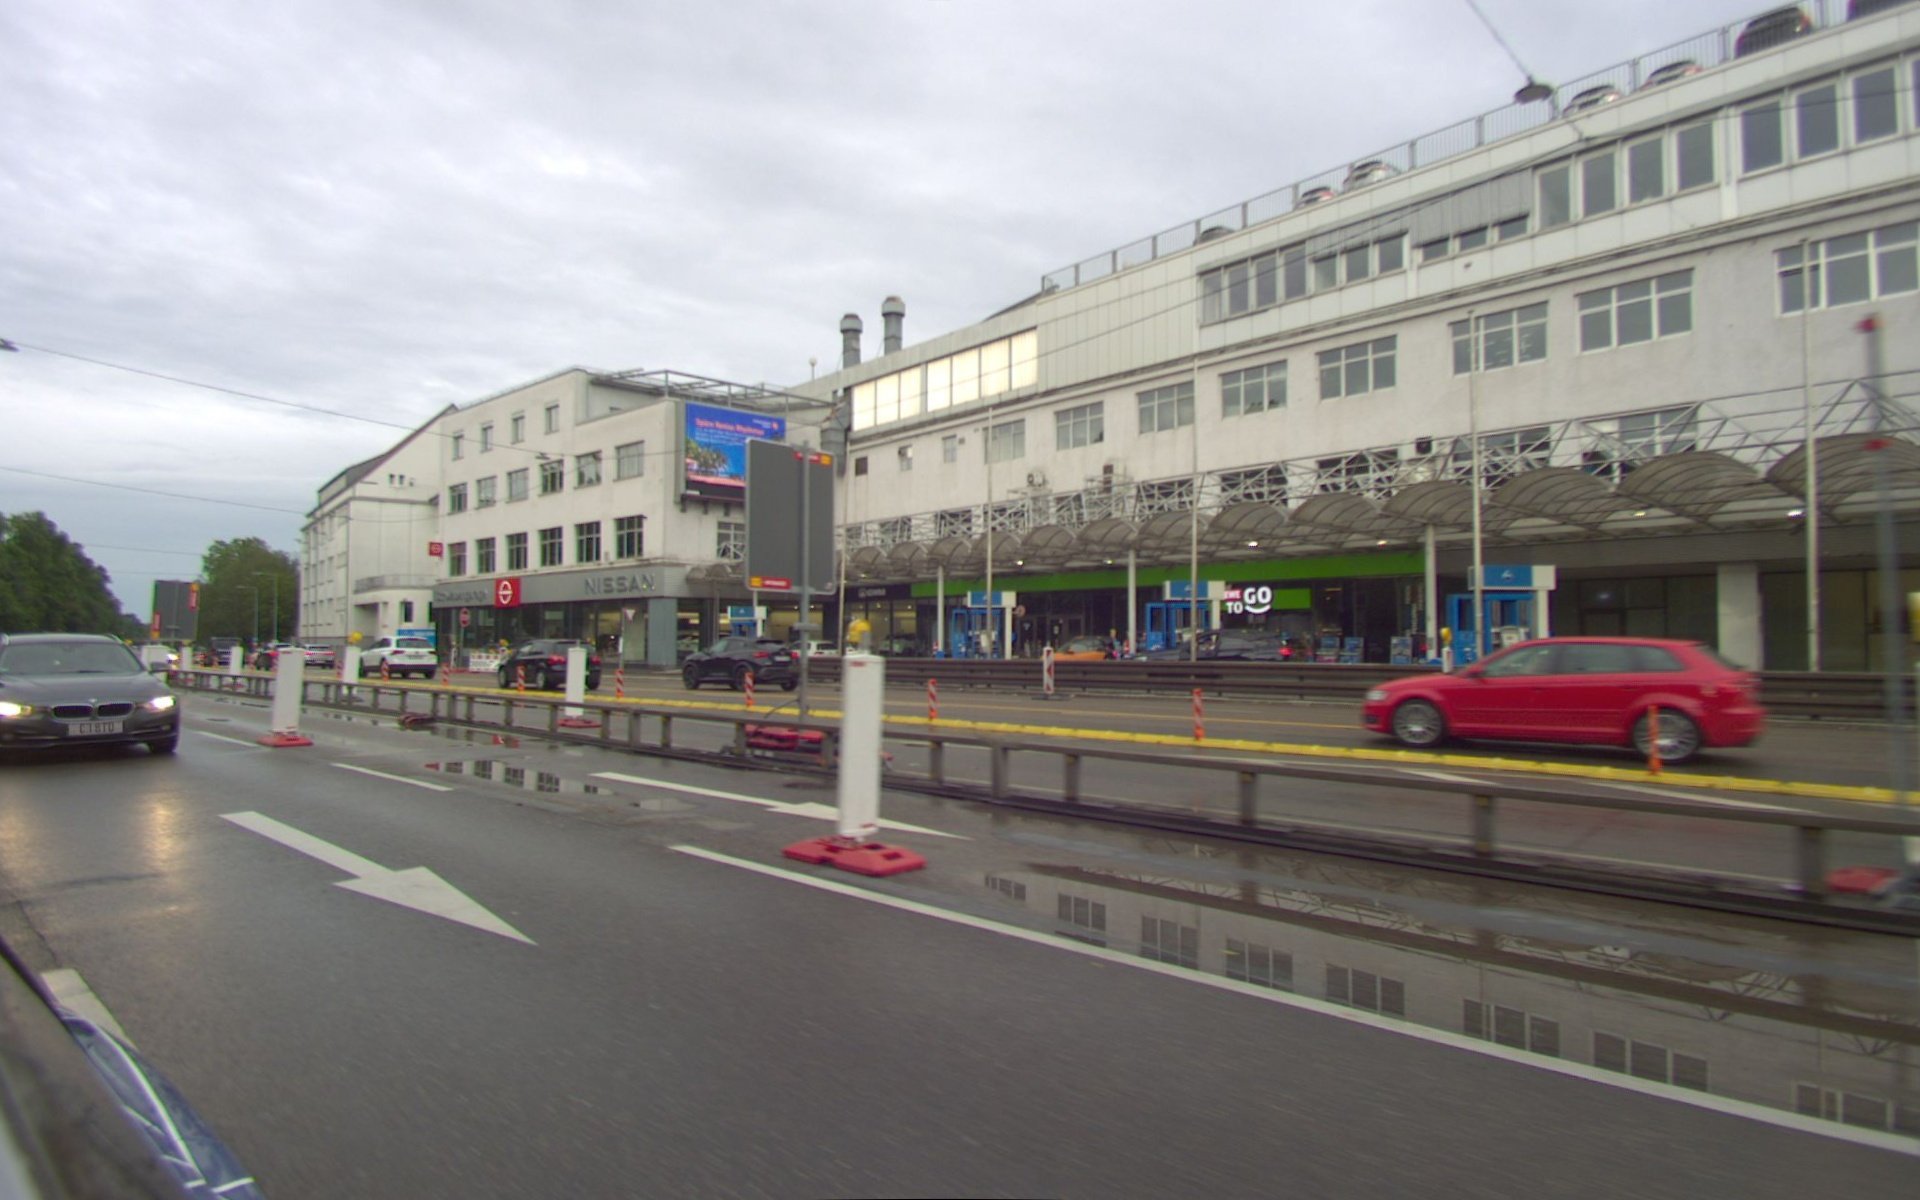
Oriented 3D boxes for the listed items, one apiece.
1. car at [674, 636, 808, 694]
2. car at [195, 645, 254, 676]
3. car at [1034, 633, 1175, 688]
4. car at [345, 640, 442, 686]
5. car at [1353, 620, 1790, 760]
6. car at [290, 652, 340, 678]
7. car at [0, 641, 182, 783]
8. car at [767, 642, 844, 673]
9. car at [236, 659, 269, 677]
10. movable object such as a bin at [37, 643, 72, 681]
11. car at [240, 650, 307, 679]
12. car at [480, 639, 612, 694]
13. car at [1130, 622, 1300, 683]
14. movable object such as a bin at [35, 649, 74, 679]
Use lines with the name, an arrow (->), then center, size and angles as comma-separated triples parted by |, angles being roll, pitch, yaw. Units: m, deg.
car -> -6.374, 1.868, 29.221 | 4.076, 1.548, 1.692 | -3, -5, 41
car -> -47.279, 3.874, 64.993 | 5.230, 1.951, 1.972 | -3, -5, 42
car -> 4.915, 2.100, 34.775 | 4.375, 1.784, 1.970 | 1, -4, -8
car -> -22.278, 2.449, 39.755 | 4.578, 1.703, 1.918 | -3, -4, 42
car -> 7.234, 0.987, 12.255 | 4.287, 1.415, 1.717 | -2, -3, 41
car -> -41.956, 4.199, 65.787 | 4.264, 1.597, 1.728 | -3, -4, 43
car -> -11.129, 1.268, 12.379 | 4.175, 1.461, 1.741 | -3, -3, 41
car -> -7.834, 2.899, 51.208 | 3.968, 1.494, 1.792 | -3, -4, 44
car -> -63.182, 6.034, 90.353 | 1.762, 1.519, 4.525 | 3, -4, -43
movable object such as a bin -> -71.074, 4.874, 79.478 | 1.799, 2.935, 3.612 | 4, -6, -40
car -> -36.606, 3.412, 53.930 | 4.706, 1.477, 1.831 | -3, -4, 42
car -> -12.378, 1.945, 30.151 | 4.298, 1.533, 1.938 | -3, -4, 42
car -> 7.482, 1.563, 29.965 | 4.409, 1.692, 2.017 | 1, -4, -8
movable object such as a bin -> -67.377, 4.760, 75.367 | 1.968, 2.128, 3.855 | 3, -5, -40
